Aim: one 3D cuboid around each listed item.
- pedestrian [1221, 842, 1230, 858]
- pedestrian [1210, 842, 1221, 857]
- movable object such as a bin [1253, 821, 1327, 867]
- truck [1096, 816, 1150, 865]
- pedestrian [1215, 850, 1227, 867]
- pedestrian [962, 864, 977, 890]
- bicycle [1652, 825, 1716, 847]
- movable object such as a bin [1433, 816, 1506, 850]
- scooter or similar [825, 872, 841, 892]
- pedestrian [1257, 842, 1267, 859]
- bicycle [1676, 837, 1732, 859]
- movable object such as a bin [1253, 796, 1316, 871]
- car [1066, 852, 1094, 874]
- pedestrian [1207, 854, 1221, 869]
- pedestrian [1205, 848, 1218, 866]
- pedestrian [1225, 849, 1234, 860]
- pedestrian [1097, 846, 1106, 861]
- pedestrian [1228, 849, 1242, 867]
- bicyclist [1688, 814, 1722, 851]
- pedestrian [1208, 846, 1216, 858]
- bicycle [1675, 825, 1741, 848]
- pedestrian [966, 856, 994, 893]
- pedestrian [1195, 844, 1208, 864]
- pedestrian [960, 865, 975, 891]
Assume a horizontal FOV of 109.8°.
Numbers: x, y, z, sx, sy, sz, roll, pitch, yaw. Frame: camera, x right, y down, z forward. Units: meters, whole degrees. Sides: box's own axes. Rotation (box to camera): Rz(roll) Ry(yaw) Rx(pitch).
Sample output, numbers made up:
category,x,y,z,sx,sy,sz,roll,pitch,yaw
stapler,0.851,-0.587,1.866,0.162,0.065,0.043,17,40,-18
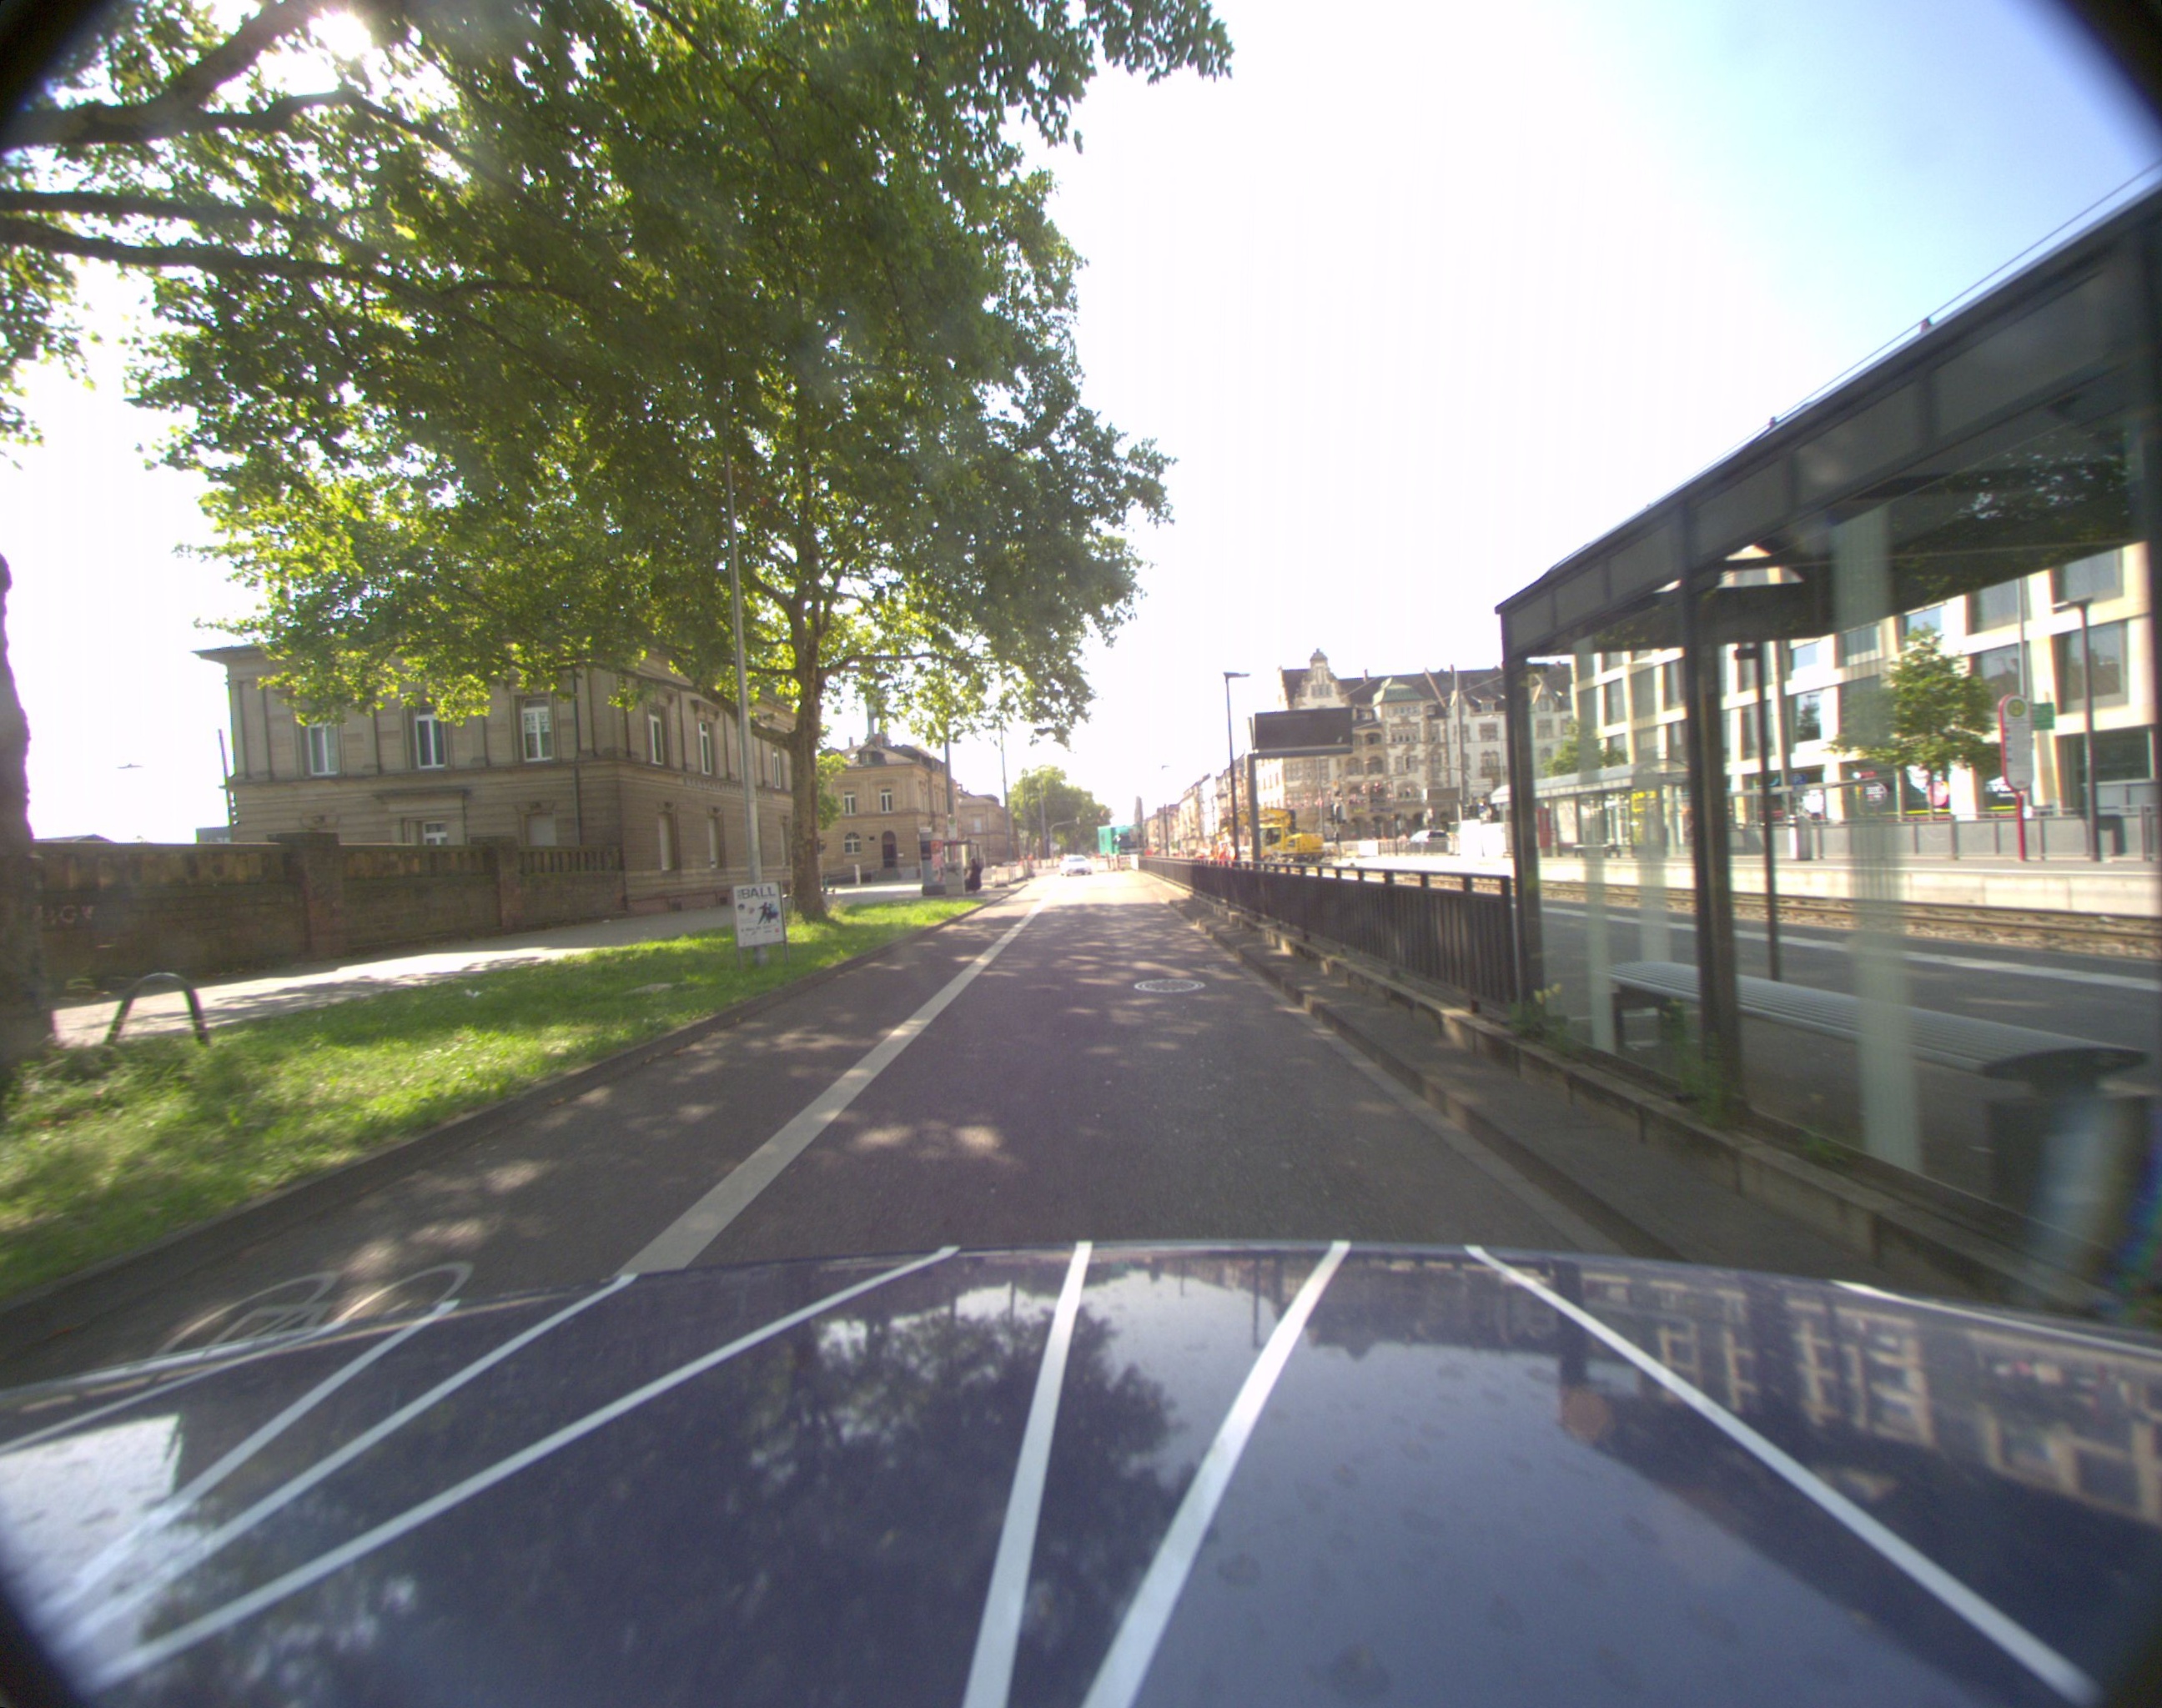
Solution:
category,x,y,z,sx,sy,sz,roll,pitch,yaw
pedestrian,15.372,-0.398,81.106,0.752,1.692,0.678,-3,1,1
pedestrian,14.479,-0.469,81.722,0.754,1.547,0.735,-4,1,-41
movable object such as a bin,15.924,-0.706,58.105,4.127,3.204,3.564,-3,0,-14
truck,3.463,-1.042,65.308,2.817,3.766,9.009,-3,0,-8
pedestrian,10.406,0.318,56.583,0.701,1.171,0.703,-3,0,22
pedestrian,-5.583,1.140,37.955,0.610,1.270,0.759,-2,1,-1
bicycle,30.714,-0.909,38.709,2.436,0.962,1.020,-3,0,0
movable object such as a bin,36.809,-2.002,72.082,5.515,2.774,2.490,-4,2,2
scooter or similar,-15.128,1.685,46.303,0.409,1.159,1.226,-3,0,6
pedestrian,17.979,-0.351,75.519,0.740,1.692,0.759,-3,1,21
bicycle,23.880,-0.256,29.169,0.630,0.817,1.897,0,2,1
movable object such as a bin,13.249,-1.291,49.795,2.994,4.527,4.213,-3,0,4
car,-0.045,0.656,55.694,1.844,1.451,4.000,-3,0,2
pedestrian,8.700,0.479,49.769,0.702,0.949,0.882,-3,0,2
pedestrian,9.542,0.218,55.560,0.701,1.327,0.838,-3,0,22
pedestrian,16.019,0.066,82.010,0.732,1.177,0.866,-1,2,-6
pedestrian,2.560,-0.037,94.974,0.921,1.830,0.801,-3,1,-5
pedestrian,10.255,0.273,50.587,0.701,1.148,0.589,-3,0,41
bicyclist,23.873,-0.819,29.090,0.630,1.394,0.784,0,2,1
pedestrian,13.660,-0.176,79.071,0.678,1.239,0.547,-3,1,0
bicycle,30.736,-0.872,37.272,2.436,0.962,0.945,-3,0,0
pedestrian,-4.528,0.919,33.947,0.885,1.616,0.821,-4,0,-34
pedestrian,9.070,0.006,57.347,0.741,1.470,0.704,-3,0,24
pedestrian,-5.572,1.169,37.175,0.610,1.211,0.574,-2,1,-1
